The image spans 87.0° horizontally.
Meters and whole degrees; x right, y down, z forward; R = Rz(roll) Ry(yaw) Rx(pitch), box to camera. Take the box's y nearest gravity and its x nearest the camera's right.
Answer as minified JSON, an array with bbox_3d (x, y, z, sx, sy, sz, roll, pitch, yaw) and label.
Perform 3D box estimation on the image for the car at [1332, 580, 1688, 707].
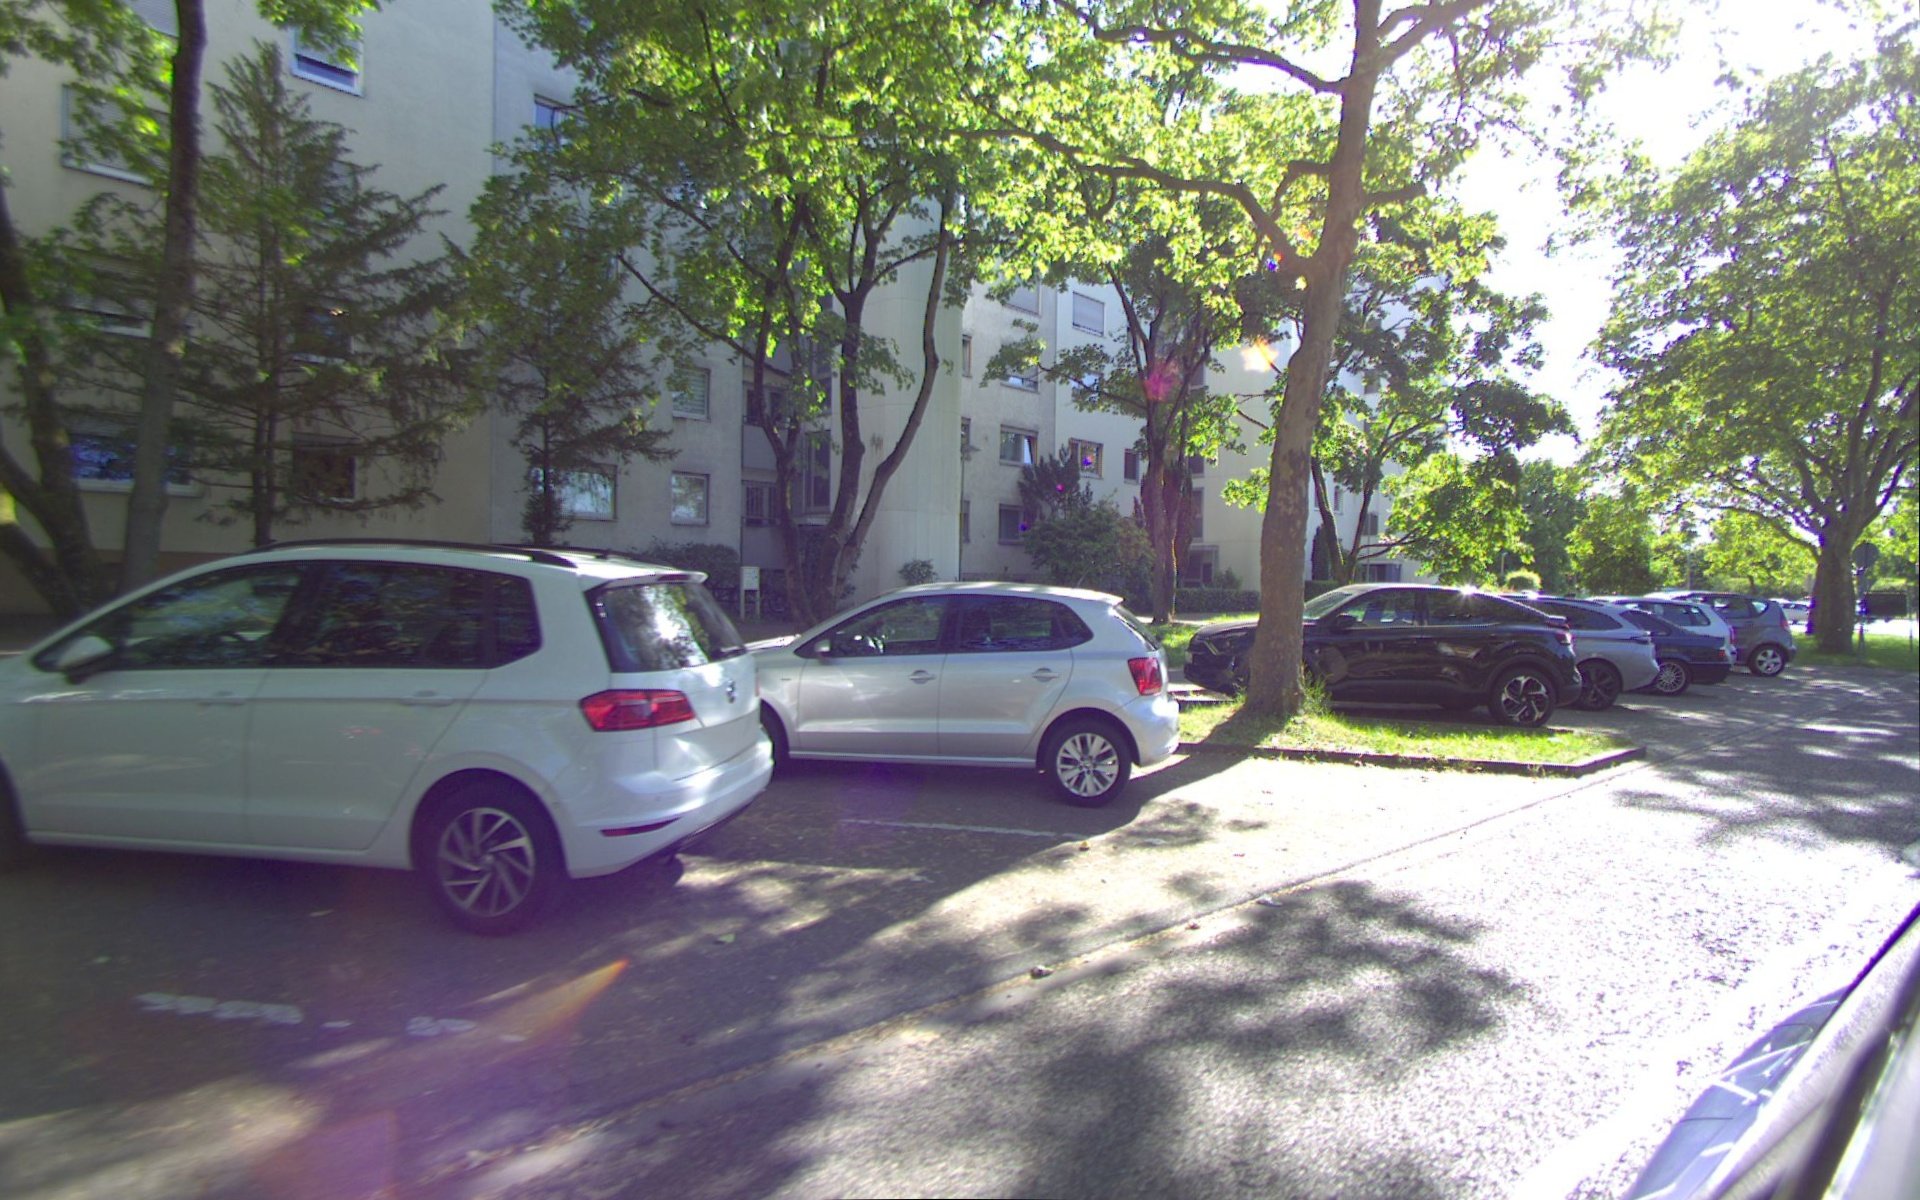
[{"bbox_3d":[7.360,0.530,13.912,3.821,1.463,1.797,2,2,6],"label":"car"}]

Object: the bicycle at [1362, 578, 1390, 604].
[{"bbox_3d":[19.157,-0.413,46.565,0.499,1.120,1.772,8,5,43],"label":"bicycle"}]

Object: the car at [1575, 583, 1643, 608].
[{"bbox_3d":[58.225,-0.437,90.864,2.049,2.113,5.204,-1,1,-12],"label":"car"}]

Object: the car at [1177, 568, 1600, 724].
[{"bbox_3d":[4.788,0.463,11.822,4.101,1.529,1.799,2,2,3],"label":"car"}]

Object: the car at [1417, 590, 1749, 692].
[{"bbox_3d":[9.790,0.592,16.228,4.080,1.334,1.795,2,2,10],"label":"car"}]

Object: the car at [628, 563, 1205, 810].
[{"bbox_3d":[-0.259,0.523,7.721,3.934,1.462,1.796,2,2,9],"label":"car"}]

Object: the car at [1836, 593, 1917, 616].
[{"bbox_3d":[65.746,0.294,72.653,1.762,1.500,4.008,-1,1,-12],"label":"car"}]

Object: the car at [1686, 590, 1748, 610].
[{"bbox_3d":[63.310,-0.013,84.715,1.762,1.500,4.008,-1,1,-12],"label":"car"}]

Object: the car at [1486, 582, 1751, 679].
[{"bbox_3d":[11.843,0.498,18.431,3.524,1.510,1.796,2,2,8],"label":"car"}]

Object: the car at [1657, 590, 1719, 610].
[{"bbox_3d":[59.805,-0.013,83.235,1.762,1.525,4.008,-1,1,-12],"label":"car"}]

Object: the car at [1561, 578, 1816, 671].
[{"bbox_3d":[14.491,0.444,20.341,3.665,1.612,1.796,2,2,9],"label":"car"}]

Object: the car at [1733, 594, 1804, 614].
[{"bbox_3d":[61.107,0.261,76.580,1.762,1.409,4.008,-1,1,-12],"label":"car"}]

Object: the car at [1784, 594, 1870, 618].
[{"bbox_3d":[59.455,0.395,69.499,1.762,1.500,4.294,-1,1,-12],"label":"car"}]

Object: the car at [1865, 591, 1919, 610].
[{"bbox_3d":[80.578,0.054,87.062,1.580,1.525,3.794,1,1,-14],"label":"car"}]

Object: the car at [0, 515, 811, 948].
[{"bbox_3d":[-2.935,0.445,5.122,3.935,1.595,1.795,2,2,10],"label":"car"}]
